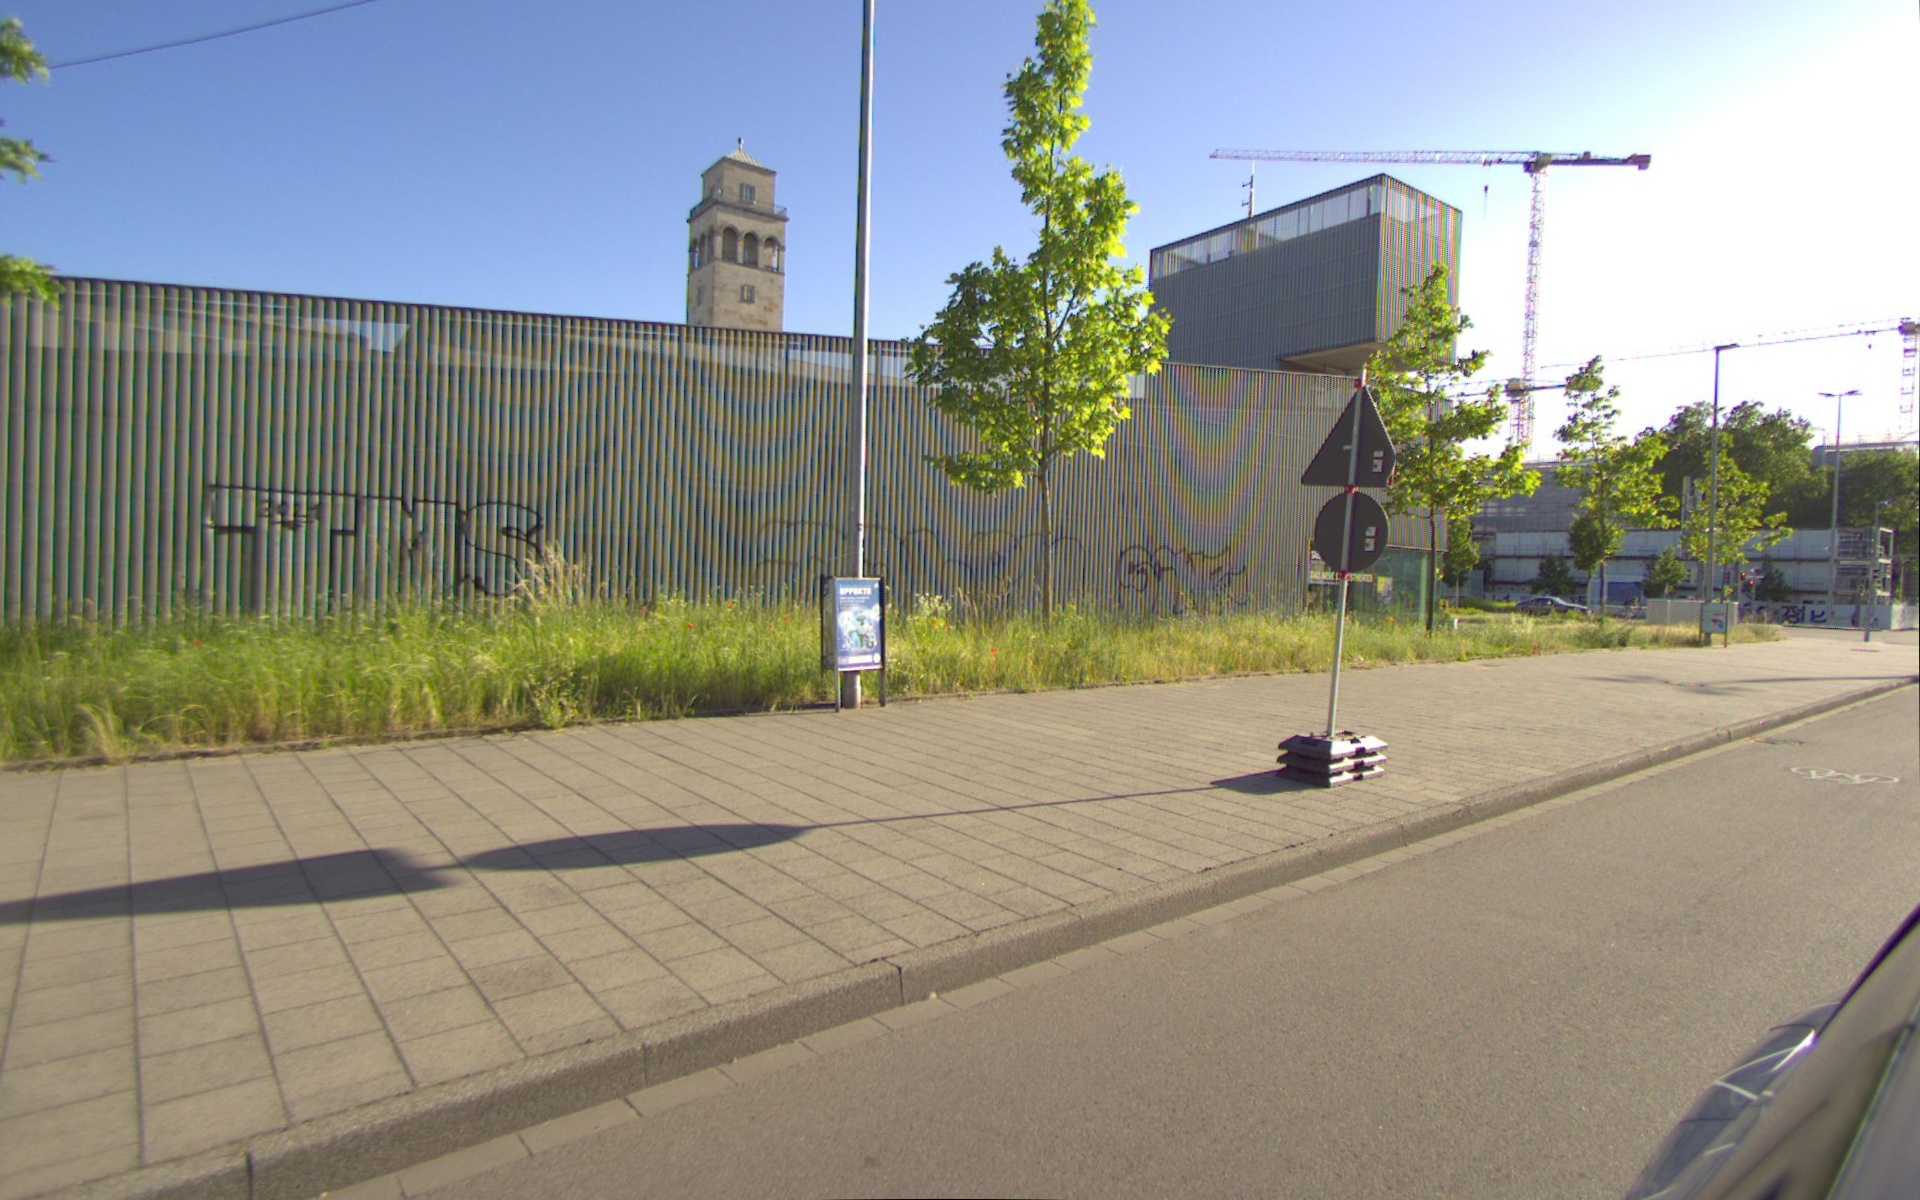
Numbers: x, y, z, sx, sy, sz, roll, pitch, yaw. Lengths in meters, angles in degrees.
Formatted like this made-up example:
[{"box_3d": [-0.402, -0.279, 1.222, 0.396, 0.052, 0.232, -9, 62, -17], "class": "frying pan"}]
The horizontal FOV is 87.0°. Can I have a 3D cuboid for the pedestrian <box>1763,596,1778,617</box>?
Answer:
[{"box_3d": [64.040, 0.534, 79.961, 0.824, 1.609, 0.654, 1, 1, -34], "class": "pedestrian"}]

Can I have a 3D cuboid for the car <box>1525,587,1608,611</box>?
[{"box_3d": [40.994, -0.094, 68.491, 1.742, 1.368, 4.530, 0, 2, -33], "class": "car"}]

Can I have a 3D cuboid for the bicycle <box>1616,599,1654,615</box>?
[{"box_3d": [42.531, 0.445, 63.779, 0.614, 0.920, 1.906, 0, 2, -43], "class": "bicycle"}]

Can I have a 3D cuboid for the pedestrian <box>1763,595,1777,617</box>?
[{"box_3d": [64.694, 0.460, 80.825, 0.824, 1.701, 0.654, 1, 1, -34], "class": "pedestrian"}]

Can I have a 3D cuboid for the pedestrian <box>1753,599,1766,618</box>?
[{"box_3d": [63.107, 0.701, 79.898, 0.592, 1.471, 0.654, 1, 1, -34], "class": "pedestrian"}]

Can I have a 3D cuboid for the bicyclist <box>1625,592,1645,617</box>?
[{"box_3d": [42.531, 0.273, 63.785, 0.614, 1.522, 0.936, 0, 2, -43], "class": "bicyclist"}]
